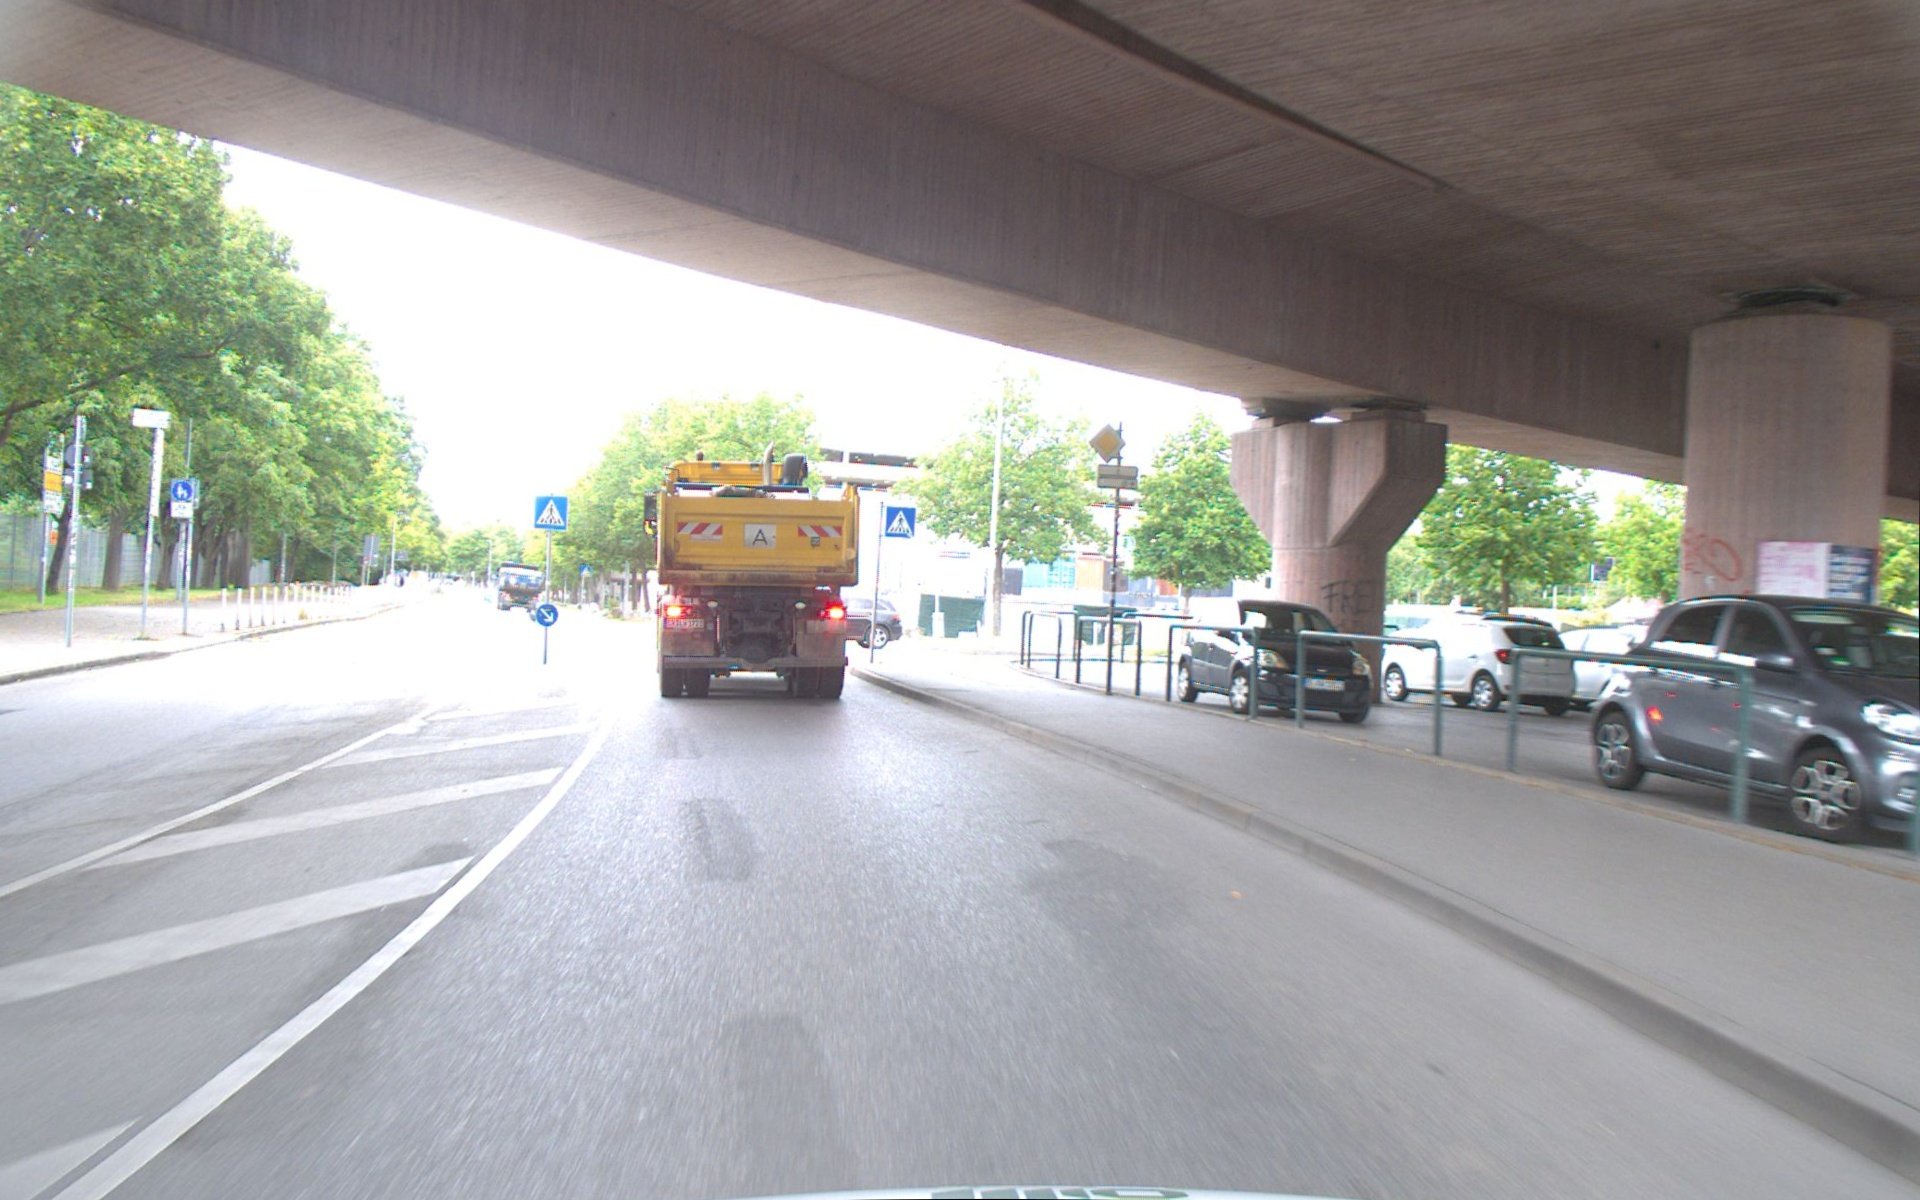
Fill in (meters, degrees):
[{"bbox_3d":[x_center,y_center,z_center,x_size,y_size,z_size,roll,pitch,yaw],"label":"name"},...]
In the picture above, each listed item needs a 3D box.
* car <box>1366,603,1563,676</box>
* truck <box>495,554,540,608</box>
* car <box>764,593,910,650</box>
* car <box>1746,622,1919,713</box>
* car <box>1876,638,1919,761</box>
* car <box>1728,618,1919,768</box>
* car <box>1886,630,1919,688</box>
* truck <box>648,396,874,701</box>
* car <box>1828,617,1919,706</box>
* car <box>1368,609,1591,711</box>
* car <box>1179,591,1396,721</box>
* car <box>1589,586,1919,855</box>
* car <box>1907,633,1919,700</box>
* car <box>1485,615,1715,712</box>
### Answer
[{"bbox_3d":[11.336,0.885,37.151,4.173,1.445,1.501,2,2,-21],"label":"car"},{"bbox_3d":[-30.477,-1.234,113.747,2.631,3.621,7.883,0,0,-18],"label":"truck"},{"bbox_3d":[-3.896,0.670,51.936,4.449,1.602,1.842,2,0,-8],"label":"car"},{"bbox_3d":[18.057,1.318,33.237,1.730,1.582,3.832,2,0,-25],"label":"car"},{"bbox_3d":[13.127,1.315,19.213,1.802,1.495,4.364,3,0,-14],"label":"car"},{"bbox_3d":[10.681,1.073,18.897,1.502,1.526,3.357,4,0,-19],"label":"car"},{"bbox_3d":[26.471,1.624,43.814,3.316,1.465,1.570,3,0,-20],"label":"car"},{"bbox_3d":[-3.191,-0.619,24.494,2.709,3.763,7.857,0,0,-11],"label":"truck"},{"bbox_3d":[20.151,1.297,33.959,1.730,1.723,3.832,2,0,-25],"label":"car"},{"bbox_3d":[9.134,1.012,29.396,1.611,1.579,3.985,2,0,-22],"label":"car"},{"bbox_3d":[4.119,0.658,21.353,1.576,1.421,3.573,4,0,-8],"label":"car"},{"bbox_3d":[6.053,0.745,11.548,1.576,1.560,3.404,4,0,-8],"label":"car"},{"bbox_3d":[22.315,1.514,34.795,1.730,1.459,3.832,2,0,-25],"label":"car"},{"bbox_3d":[11.669,1.122,30.398,1.671,1.535,3.832,2,0,-25],"label":"car"}]
